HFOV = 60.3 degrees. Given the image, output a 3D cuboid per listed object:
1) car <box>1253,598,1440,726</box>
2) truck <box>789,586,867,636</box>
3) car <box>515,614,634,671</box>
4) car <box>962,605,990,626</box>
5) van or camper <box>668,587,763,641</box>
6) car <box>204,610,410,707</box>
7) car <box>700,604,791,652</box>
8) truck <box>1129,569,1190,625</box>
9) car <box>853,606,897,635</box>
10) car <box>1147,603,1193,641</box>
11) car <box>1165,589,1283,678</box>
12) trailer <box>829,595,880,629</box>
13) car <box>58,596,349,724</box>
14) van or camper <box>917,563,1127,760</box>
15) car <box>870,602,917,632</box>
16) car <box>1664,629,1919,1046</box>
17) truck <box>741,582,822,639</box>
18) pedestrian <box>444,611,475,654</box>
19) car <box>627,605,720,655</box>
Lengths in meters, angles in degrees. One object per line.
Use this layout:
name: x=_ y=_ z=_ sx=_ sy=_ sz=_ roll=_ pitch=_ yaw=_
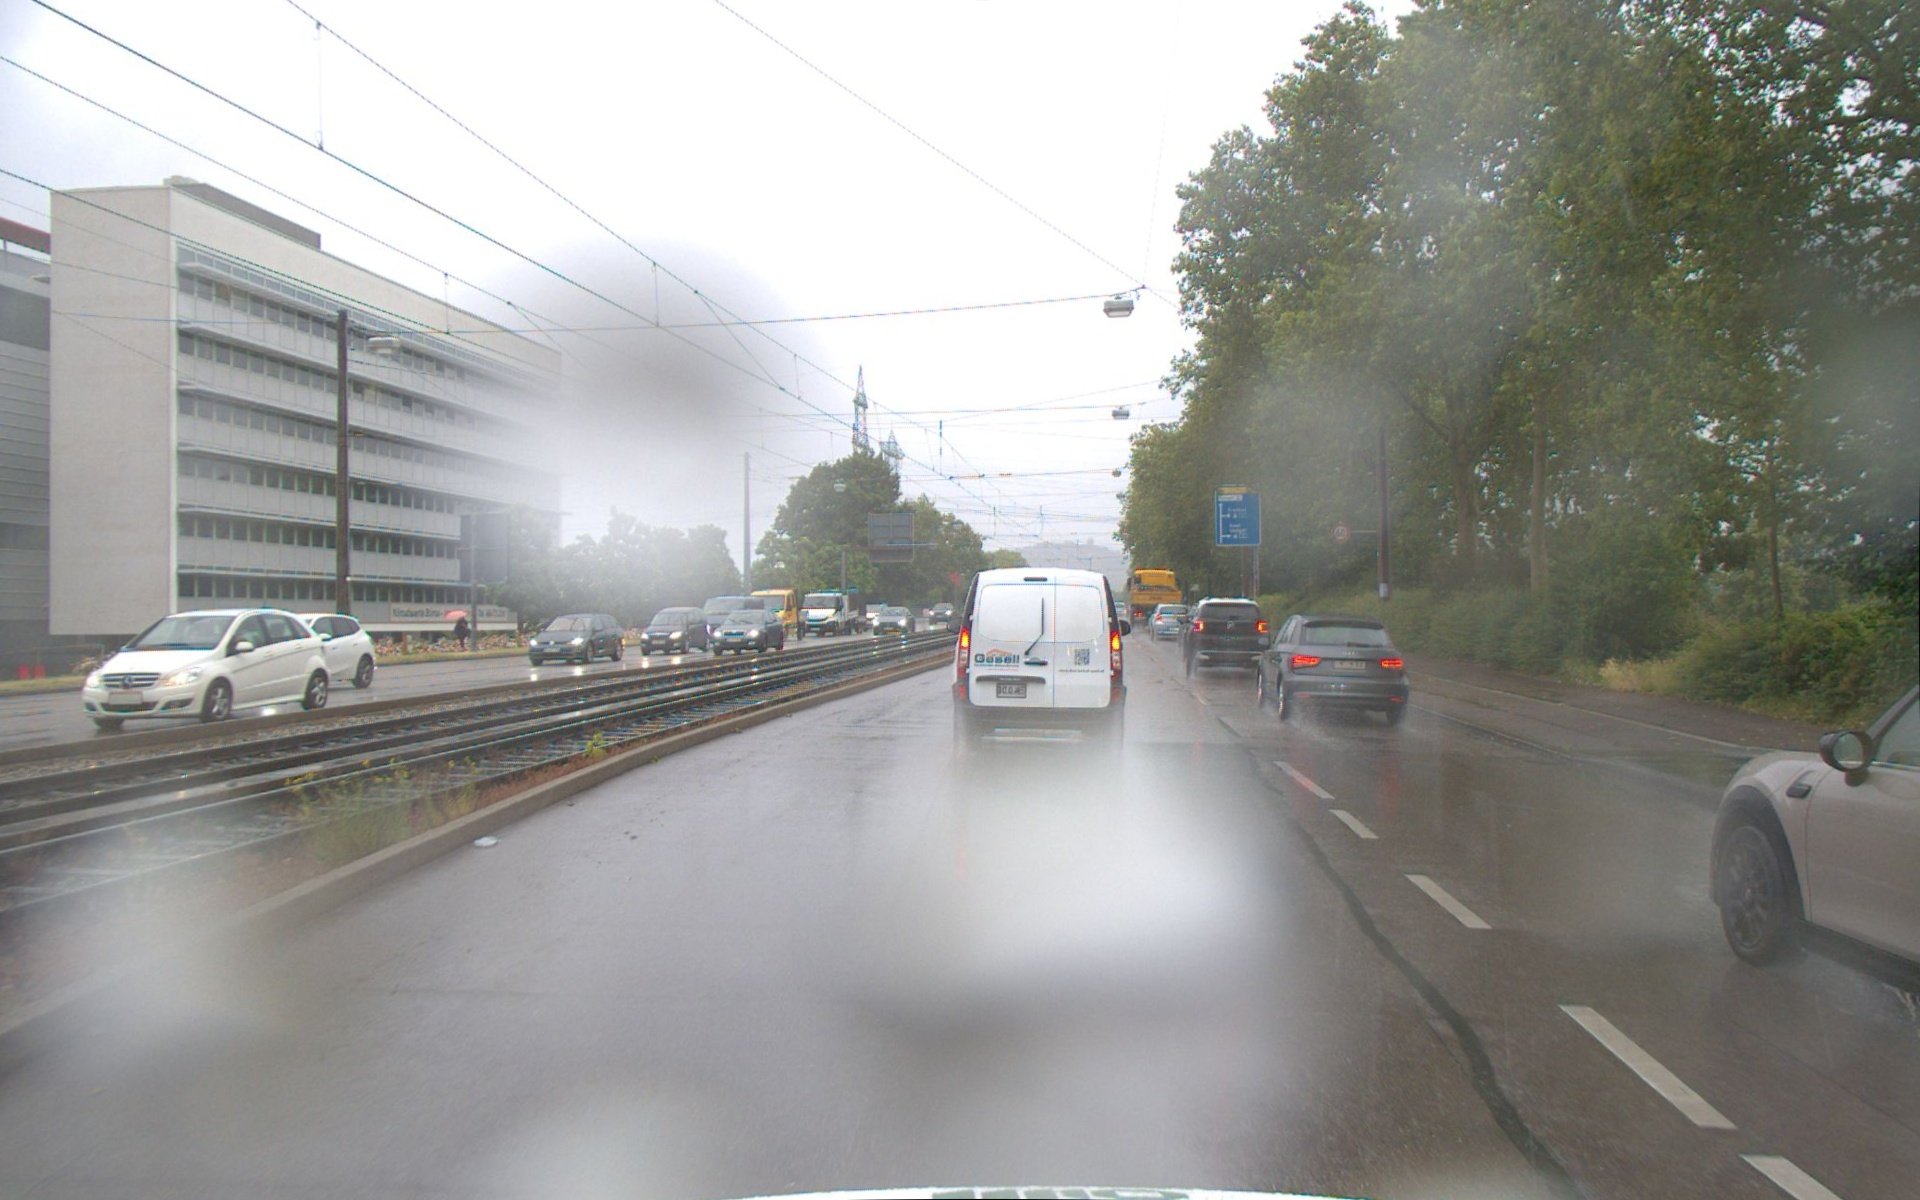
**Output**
car: x=5.216 y=0.772 z=22.820 sx=1.926 sy=1.555 sz=3.993 roll=1 pitch=1 yaw=4
truck: x=-6.871 y=0.578 z=87.380 sx=2.383 sy=2.501 sz=7.225 roll=1 pitch=0 yaw=9
car: x=-11.442 y=1.224 z=49.420 sx=1.922 sy=1.543 sz=4.557 roll=-2 pitch=-1 yaw=7
car: x=1.287 y=1.255 z=131.841 sx=1.780 sy=1.651 sz=4.539 roll=0 pitch=0 yaw=6
van or camper: x=-9.897 y=0.574 z=67.486 sx=2.256 sy=2.049 sz=5.690 roll=1 pitch=0 yaw=8
car: x=-13.425 y=1.150 z=34.345 sx=1.951 sy=1.866 sz=4.696 roll=-1 pitch=-1 yaw=7
car: x=-7.199 y=0.932 z=56.085 sx=1.951 sy=1.482 sz=4.675 roll=-3 pitch=-1 yaw=6
truck: x=10.293 y=-0.163 z=85.782 sx=3.047 sy=2.822 sz=6.333 roll=0 pitch=0 yaw=6
car: x=-5.170 y=1.246 z=101.261 sx=1.734 sy=1.712 sz=4.693 roll=1 pitch=0 yaw=8
car: x=8.510 y=0.879 z=67.092 sx=1.779 sy=1.438 sz=3.781 roll=1 pitch=1 yaw=7
car: x=5.613 y=0.654 z=35.692 sx=1.860 sy=1.747 sz=4.726 roll=1 pitch=1 yaw=1
trailer: x=-5.913 y=0.684 z=93.244 sx=2.074 sy=1.824 sz=3.839 roll=1 pitch=0 yaw=9
car: x=-10.895 y=0.798 z=24.200 sx=1.833 sy=1.601 sz=4.331 roll=1 pitch=1 yaw=8
van or camper: x=0.708 y=0.542 z=17.615 sx=1.952 sy=1.815 sz=4.002 roll=1 pitch=1 yaw=3
car: x=-3.540 y=0.917 z=88.511 sx=1.819 sy=1.520 sz=4.693 roll=-2 pitch=-1 yaw=6
car: x=4.236 y=0.868 z=5.973 sx=1.754 sy=1.438 sz=3.854 roll=2 pitch=-1 yaw=1
truck: x=-8.290 y=0.491 z=77.441 sx=2.179 sy=2.505 sz=6.072 roll=1 pitch=0 yaw=9
pedestrian: x=-21.215 y=1.370 z=70.169 sx=0.805 sy=1.793 sz=1.051 roll=2 pitch=-1 yaw=8
car: x=-10.117 y=1.044 z=58.778 sx=1.818 sy=1.646 sz=4.911 roll=-2 pitch=-1 yaw=8
